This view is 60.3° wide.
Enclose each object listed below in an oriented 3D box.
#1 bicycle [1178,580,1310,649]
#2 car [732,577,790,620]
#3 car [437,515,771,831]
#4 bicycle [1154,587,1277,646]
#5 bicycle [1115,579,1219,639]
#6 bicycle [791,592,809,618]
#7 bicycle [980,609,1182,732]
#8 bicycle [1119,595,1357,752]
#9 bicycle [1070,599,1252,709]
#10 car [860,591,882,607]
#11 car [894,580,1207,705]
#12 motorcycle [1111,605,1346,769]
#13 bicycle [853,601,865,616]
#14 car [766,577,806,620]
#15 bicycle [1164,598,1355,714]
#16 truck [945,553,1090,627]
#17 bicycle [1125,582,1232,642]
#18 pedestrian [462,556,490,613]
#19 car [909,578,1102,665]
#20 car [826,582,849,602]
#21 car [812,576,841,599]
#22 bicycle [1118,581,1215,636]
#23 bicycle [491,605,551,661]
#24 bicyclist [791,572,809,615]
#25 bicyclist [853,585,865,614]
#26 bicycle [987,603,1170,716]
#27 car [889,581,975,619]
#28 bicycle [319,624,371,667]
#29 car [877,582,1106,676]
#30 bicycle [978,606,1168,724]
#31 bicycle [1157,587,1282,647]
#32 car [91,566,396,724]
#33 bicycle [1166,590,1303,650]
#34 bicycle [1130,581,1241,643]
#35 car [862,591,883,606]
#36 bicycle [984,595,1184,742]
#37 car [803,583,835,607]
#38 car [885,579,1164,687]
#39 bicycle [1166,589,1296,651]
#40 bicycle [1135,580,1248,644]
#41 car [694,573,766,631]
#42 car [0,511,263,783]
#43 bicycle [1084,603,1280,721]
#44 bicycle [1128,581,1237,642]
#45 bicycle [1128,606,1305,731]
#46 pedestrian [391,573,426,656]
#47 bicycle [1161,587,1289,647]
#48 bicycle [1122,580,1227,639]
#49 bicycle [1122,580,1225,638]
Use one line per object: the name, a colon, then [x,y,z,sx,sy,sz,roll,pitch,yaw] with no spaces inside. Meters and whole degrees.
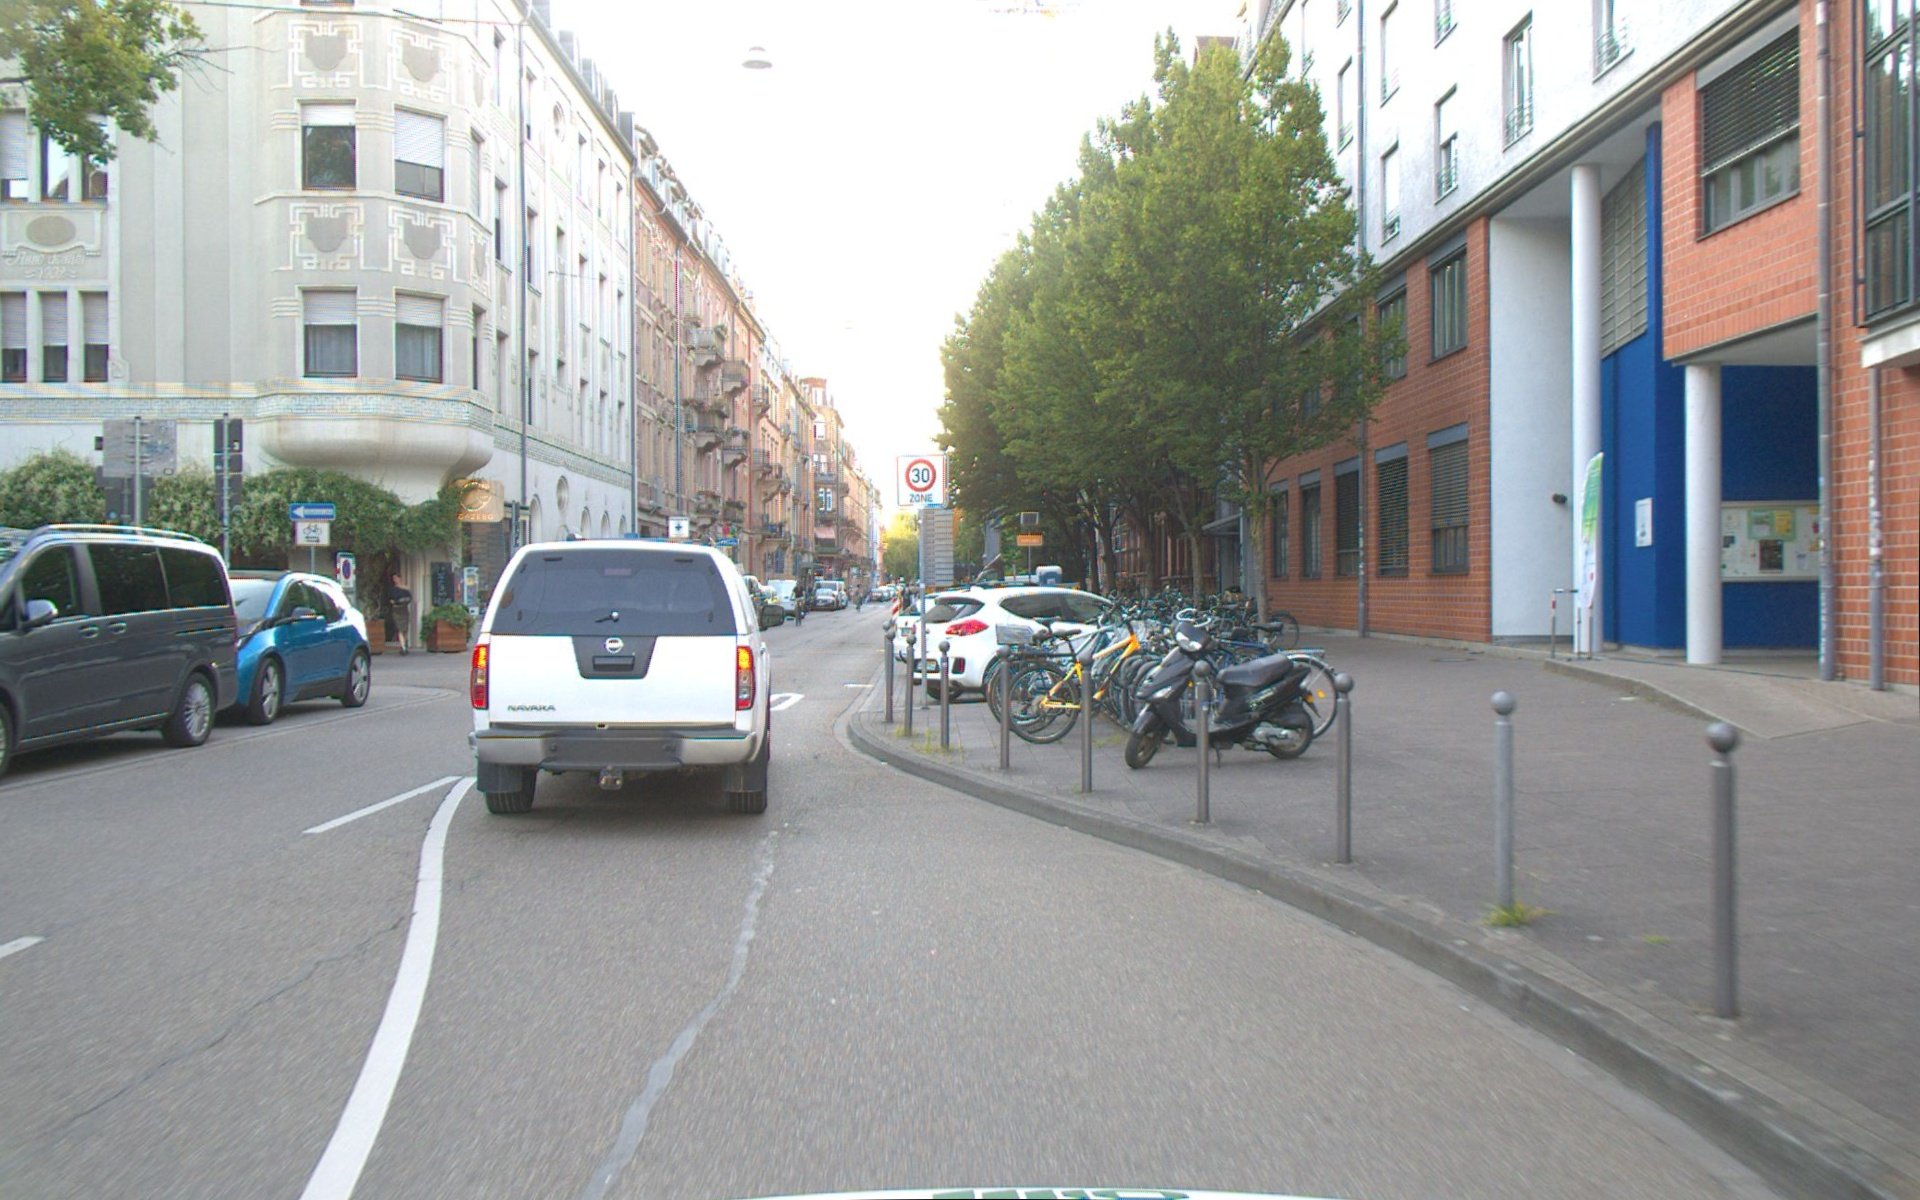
bicycle: [5.263,0.271,30.753,2.298,1.118,0.680,-4,0,1]
car: [-8.002,-0.057,66.740,1.953,1.681,3.999,0,0,-1]
car: [-2.328,0.420,11.955,1.896,1.826,4.615,0,0,-6]
bicycle: [5.309,0.338,34.467,2.482,1.187,0.562,0,0,1]
bicycle: [5.217,0.222,41.778,2.483,1.266,0.599,-6,0,1]
bicycle: [-6.499,0.189,67.289,0.602,1.058,1.903,0,0,-1]
bicycle: [1.127,0.655,15.587,1.820,1.056,0.471,-2,0,-3]
bicycle: [2.313,0.596,13.868,1.821,1.166,0.659,-4,0,-2]
bicycle: [2.167,0.575,17.933,1.873,1.084,0.524,-2,0,-3]
car: [-8.645,-0.117,160.479,1.808,1.579,4.356,0,0,2]
car: [1.243,0.514,22.358,3.946,1.533,1.752,-1,0,-31]
motorcycle: [2.040,0.639,12.632,1.614,1.121,0.646,-3,1,-10]
bicycle: [-6.558,0.532,107.670,0.784,0.963,2.003,0,0,-3]
car: [-8.231,-0.087,78.339,1.528,1.954,3.855,2,0,-1]
bicycle: [3.059,0.564,16.951,1.820,1.084,0.524,-2,0,-3]
truck: [2.483,-0.405,71.805,6.190,3.029,2.264,1,-3,0]
bicycle: [5.221,0.283,39.649,2.482,1.403,0.599,0,0,1]
pedestrian: [-11.741,-0.371,40.143,0.527,1.373,0.518,0,0,0]
car: [0.927,0.394,32.981,3.563,1.608,1.696,-1,0,-34]
car: [-9.684,-0.633,130.923,1.810,1.579,4.352,0,0,-3]
car: [-9.100,-0.835,113.073,1.675,1.557,3.999,0,0,-1]
bicycle: [5.378,0.221,43.155,2.482,1.403,0.599,0,0,1]
bicycle: [-8.723,0.649,32.932,0.414,1.030,1.720,0,2,12]
bicyclist: [-6.500,-0.259,67.239,0.590,1.714,1.142,0,0,-1]
bicyclist: [-6.560,-0.059,107.599,0.784,1.882,0.943,0,0,-3]
bicycle: [1.224,0.612,17.197,1.820,1.084,0.445,-2,0,-3]
car: [-1.381,-0.004,82.654,4.107,1.811,1.821,1,0,5]
bicycle: [-11.656,0.852,31.405,0.415,0.707,1.778,0,2,-3]
car: [0.602,0.479,30.108,3.948,1.564,1.618,-1,1,-32]
bicycle: [1.122,0.640,16.518,1.820,1.084,0.445,-2,0,-3]
bicycle: [5.304,0.346,33.856,2.482,1.187,0.562,0,0,1]
car: [-7.842,0.430,18.532,1.606,1.583,4.005,0,0,1]
bicycle: [5.293,0.380,31.961,2.482,0.976,0.680,-4,0,1]
bicycle: [5.199,0.267,38.183,2.482,1.403,0.599,0,0,1]
car: [-9.290,-0.138,175.491,1.808,1.579,4.357,0,0,2]
bicycle: [1.077,0.592,14.523,1.673,1.196,0.471,-2,0,-3]
car: [-9.108,-0.332,107.392,1.755,1.557,4.000,0,0,-1]
car: [1.012,0.470,25.299,3.952,1.499,1.853,-1,-1,-34]
bicycle: [5.340,0.393,32.672,2.482,1.187,0.562,0,0,1]
bicycle: [5.236,0.270,37.470,2.482,1.403,0.599,0,0,1]
car: [-8.138,0.038,58.906,1.866,1.959,4.946,1,0,0]
car: [-7.667,0.317,13.186,1.952,1.899,5.290,0,0,0]
bicycle: [2.159,0.596,16.130,1.820,1.056,0.402,-2,0,-3]
bicycle: [5.231,0.260,38.910,2.482,1.403,0.599,0,0,1]
bicycle: [2.340,0.617,15.142,1.509,1.056,0.471,-2,0,-3]
pedestrian: [-11.377,0.295,34.154,0.555,1.704,0.615,0,0,-6]
bicycle: [5.325,0.336,33.279,2.482,1.187,0.562,0,0,1]
bicycle: [5.228,0.237,40.347,2.482,1.403,0.599,0,0,1]
bicycle: [5.289,0.224,41.012,2.482,1.403,0.599,0,0,1]
